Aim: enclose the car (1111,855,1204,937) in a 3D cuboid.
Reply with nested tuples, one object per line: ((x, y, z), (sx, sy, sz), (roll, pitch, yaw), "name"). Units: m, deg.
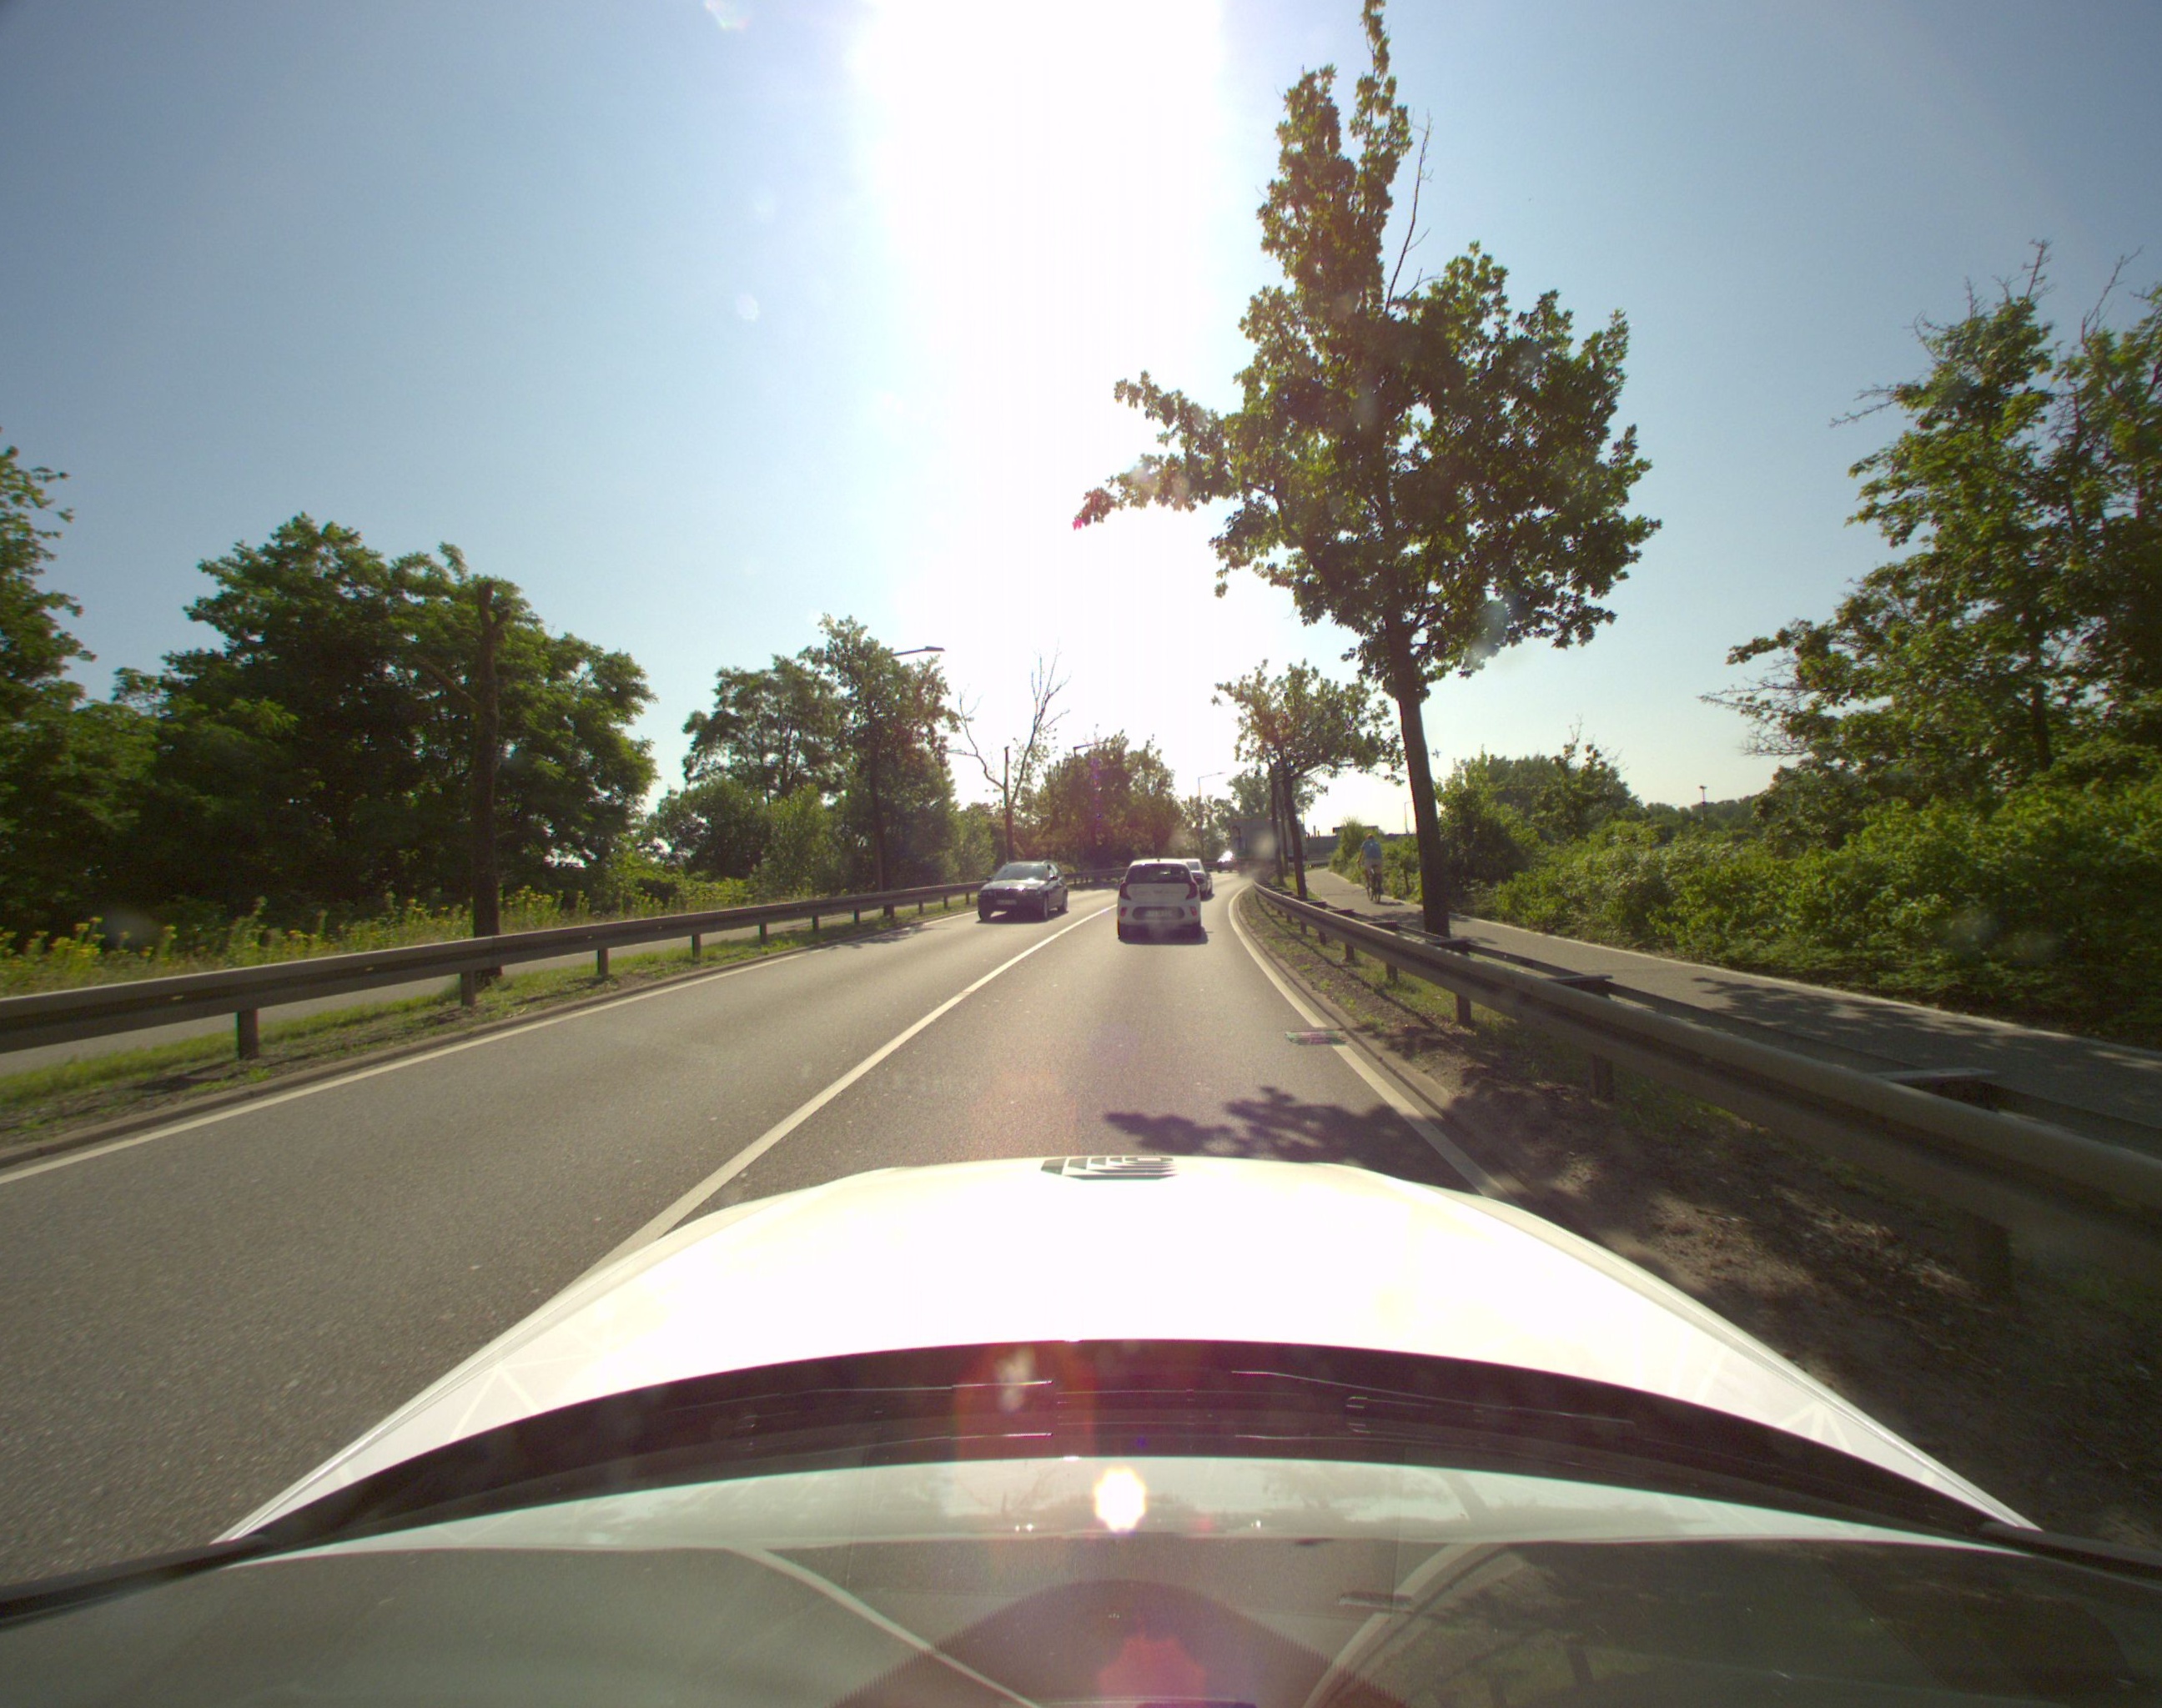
((1.712, 0.783, 17.047), (1.692, 1.494, 4.010), (-1, 0, 9), "car")

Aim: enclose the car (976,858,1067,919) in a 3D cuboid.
((-1.470, 0.838, 21.599), (1.693, 1.448, 4.127), (0, -1, 6), "car")

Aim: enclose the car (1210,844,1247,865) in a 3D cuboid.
((11.387, 0.035, 62.520), (1.913, 1.533, 4.140), (-1, 0, 22), "car")

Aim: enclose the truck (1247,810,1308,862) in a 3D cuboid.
((15.334, -1.448, 63.024), (3.231, 3.757, 8.418), (-1, 2, 23), "truck")

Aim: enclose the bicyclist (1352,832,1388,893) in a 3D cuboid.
((7.661, 0.229, 21.593), (0.654, 1.520, 0.805), (-5, -2, 10), "bicyclist")

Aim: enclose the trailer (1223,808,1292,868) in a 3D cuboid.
((12.197, -1.157, 55.691), (3.196, 3.757, 7.869), (-1, 2, 23), "trailer")

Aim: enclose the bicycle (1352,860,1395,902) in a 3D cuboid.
((7.701, 0.701, 21.509), (0.698, 1.020, 1.851), (-6, -2, 11), "bicycle")

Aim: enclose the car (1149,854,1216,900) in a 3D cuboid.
((3.848, 0.784, 30.034), (1.925, 1.486, 4.917), (-1, 0, 13), "car")
